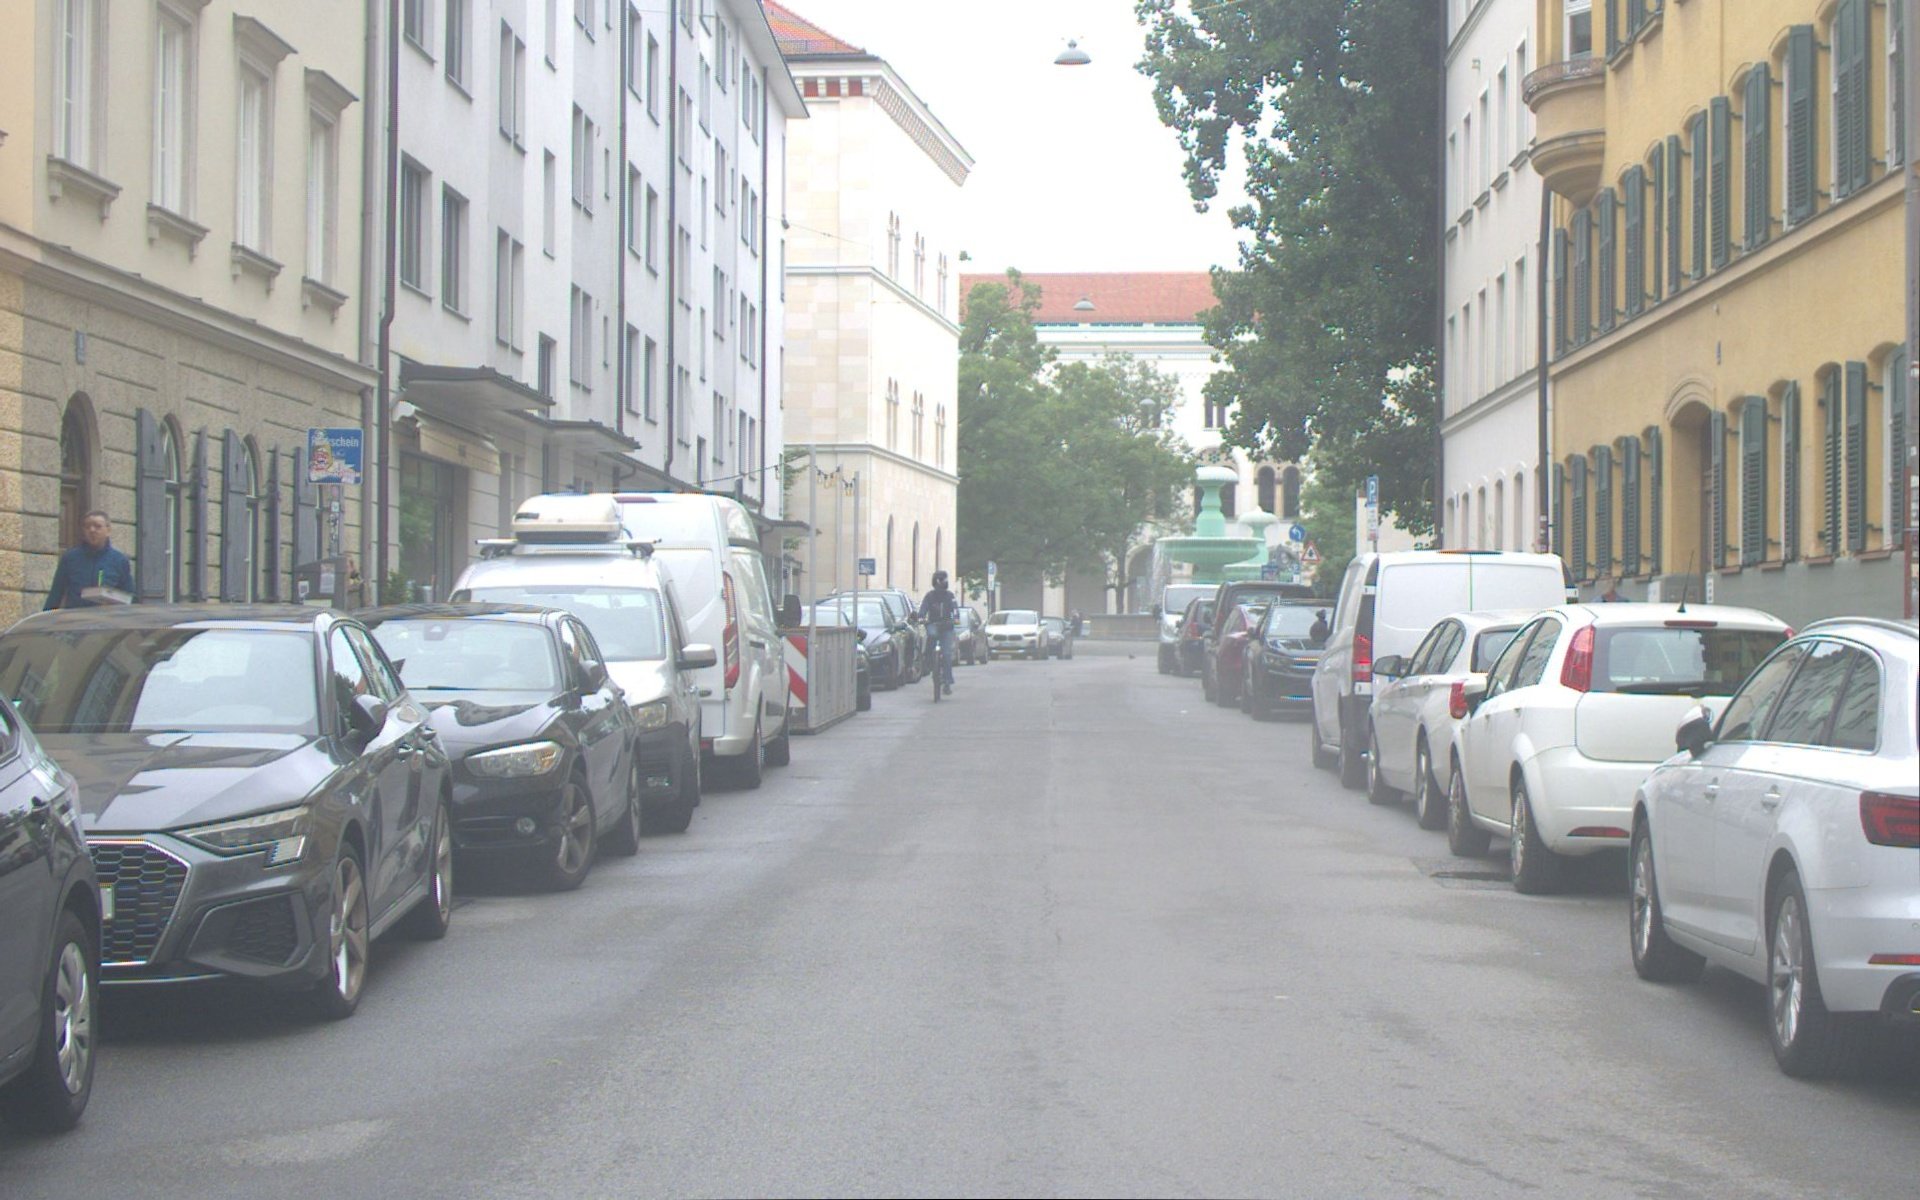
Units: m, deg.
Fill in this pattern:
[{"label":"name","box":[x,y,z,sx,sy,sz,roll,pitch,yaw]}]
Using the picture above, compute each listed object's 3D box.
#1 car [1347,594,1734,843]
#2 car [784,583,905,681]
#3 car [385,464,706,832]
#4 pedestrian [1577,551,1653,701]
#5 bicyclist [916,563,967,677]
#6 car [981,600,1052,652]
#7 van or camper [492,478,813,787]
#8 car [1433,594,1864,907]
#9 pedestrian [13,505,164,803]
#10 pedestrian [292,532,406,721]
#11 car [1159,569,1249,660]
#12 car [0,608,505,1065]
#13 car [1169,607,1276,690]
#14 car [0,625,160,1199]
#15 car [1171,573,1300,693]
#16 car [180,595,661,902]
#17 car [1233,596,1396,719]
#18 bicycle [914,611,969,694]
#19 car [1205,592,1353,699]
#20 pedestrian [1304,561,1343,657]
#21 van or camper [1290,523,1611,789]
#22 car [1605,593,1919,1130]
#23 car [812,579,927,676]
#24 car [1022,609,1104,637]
[{"label":"car","box":[3.805,0.718,23.290,1.816,1.505,4.587,0,0,0]},{"label":"car","box":[-1.884,0.503,57.071,1.773,1.534,4.159,-1,0,1]},{"label":"car","box":[-2.681,0.283,23.142,1.857,2.194,4.562,1,0,-4]},{"label":"pedestrian","box":[7.294,0.285,38.313,0.597,1.633,0.896,-2,0,0]},{"label":"bicyclist","box":[-0.261,0.285,49.482,0.686,1.622,0.853,1,0,1]},{"label":"car","box":[1.732,0.811,104.888,1.778,1.530,4.210,-1,-1,6]},{"label":"van or camper","box":[-2.441,0.223,28.706,1.993,2.303,5.478,1,0,2]},{"label":"car","box":[3.603,0.726,18.577,1.623,1.505,3.761,0,0,1]},{"label":"pedestrian","box":[-5.968,0.363,23.569,0.805,2.007,0.750,0,0,3]},{"label":"pedestrian","box":[-5.629,0.239,31.721,0.805,1.706,1.021,0,0,3]},{"label":"car","box":[5.344,0.315,75.438,1.882,1.918,4.874,1,0,4]},{"label":"car","box":[-2.965,0.762,13.118,1.857,1.397,4.269,1,0,0]},{"label":"car","box":[5.275,0.956,69.510,1.808,1.595,4.215,1,0,0]},{"label":"car","box":[-3.257,0.768,8.074,1.857,1.397,4.270,1,0,-2]},{"label":"car","box":[4.412,0.536,55.509,1.847,1.770,4.200,3,0,2]},{"label":"car","box":[-2.721,0.693,18.287,1.857,1.397,4.269,1,0,0]},{"label":"car","box":[4.400,0.686,43.182,1.746,1.459,4.000,0,0,2]},{"label":"bicycle","box":[-0.255,0.741,49.321,0.732,1.147,1.999,1,0,1]},{"label":"car","box":[4.474,0.623,48.708,1.713,1.419,4.457,1,0,1]},{"label":"pedestrian","box":[8.415,0.202,79.564,0.793,2.190,0.813,1,0,2]},{"label":"van or camper","box":[3.976,0.412,28.741,1.993,2.007,5.233,0,0,1]},{"label":"car","box":[3.443,0.734,11.853,1.717,1.505,4.468,0,0,2]},{"label":"car","box":[-1.615,0.467,62.643,1.872,1.682,4.520,-1,0,1]},{"label":"car","box":[5.236,1.161,173.809,3.988,1.371,1.999,0,0,6]}]
